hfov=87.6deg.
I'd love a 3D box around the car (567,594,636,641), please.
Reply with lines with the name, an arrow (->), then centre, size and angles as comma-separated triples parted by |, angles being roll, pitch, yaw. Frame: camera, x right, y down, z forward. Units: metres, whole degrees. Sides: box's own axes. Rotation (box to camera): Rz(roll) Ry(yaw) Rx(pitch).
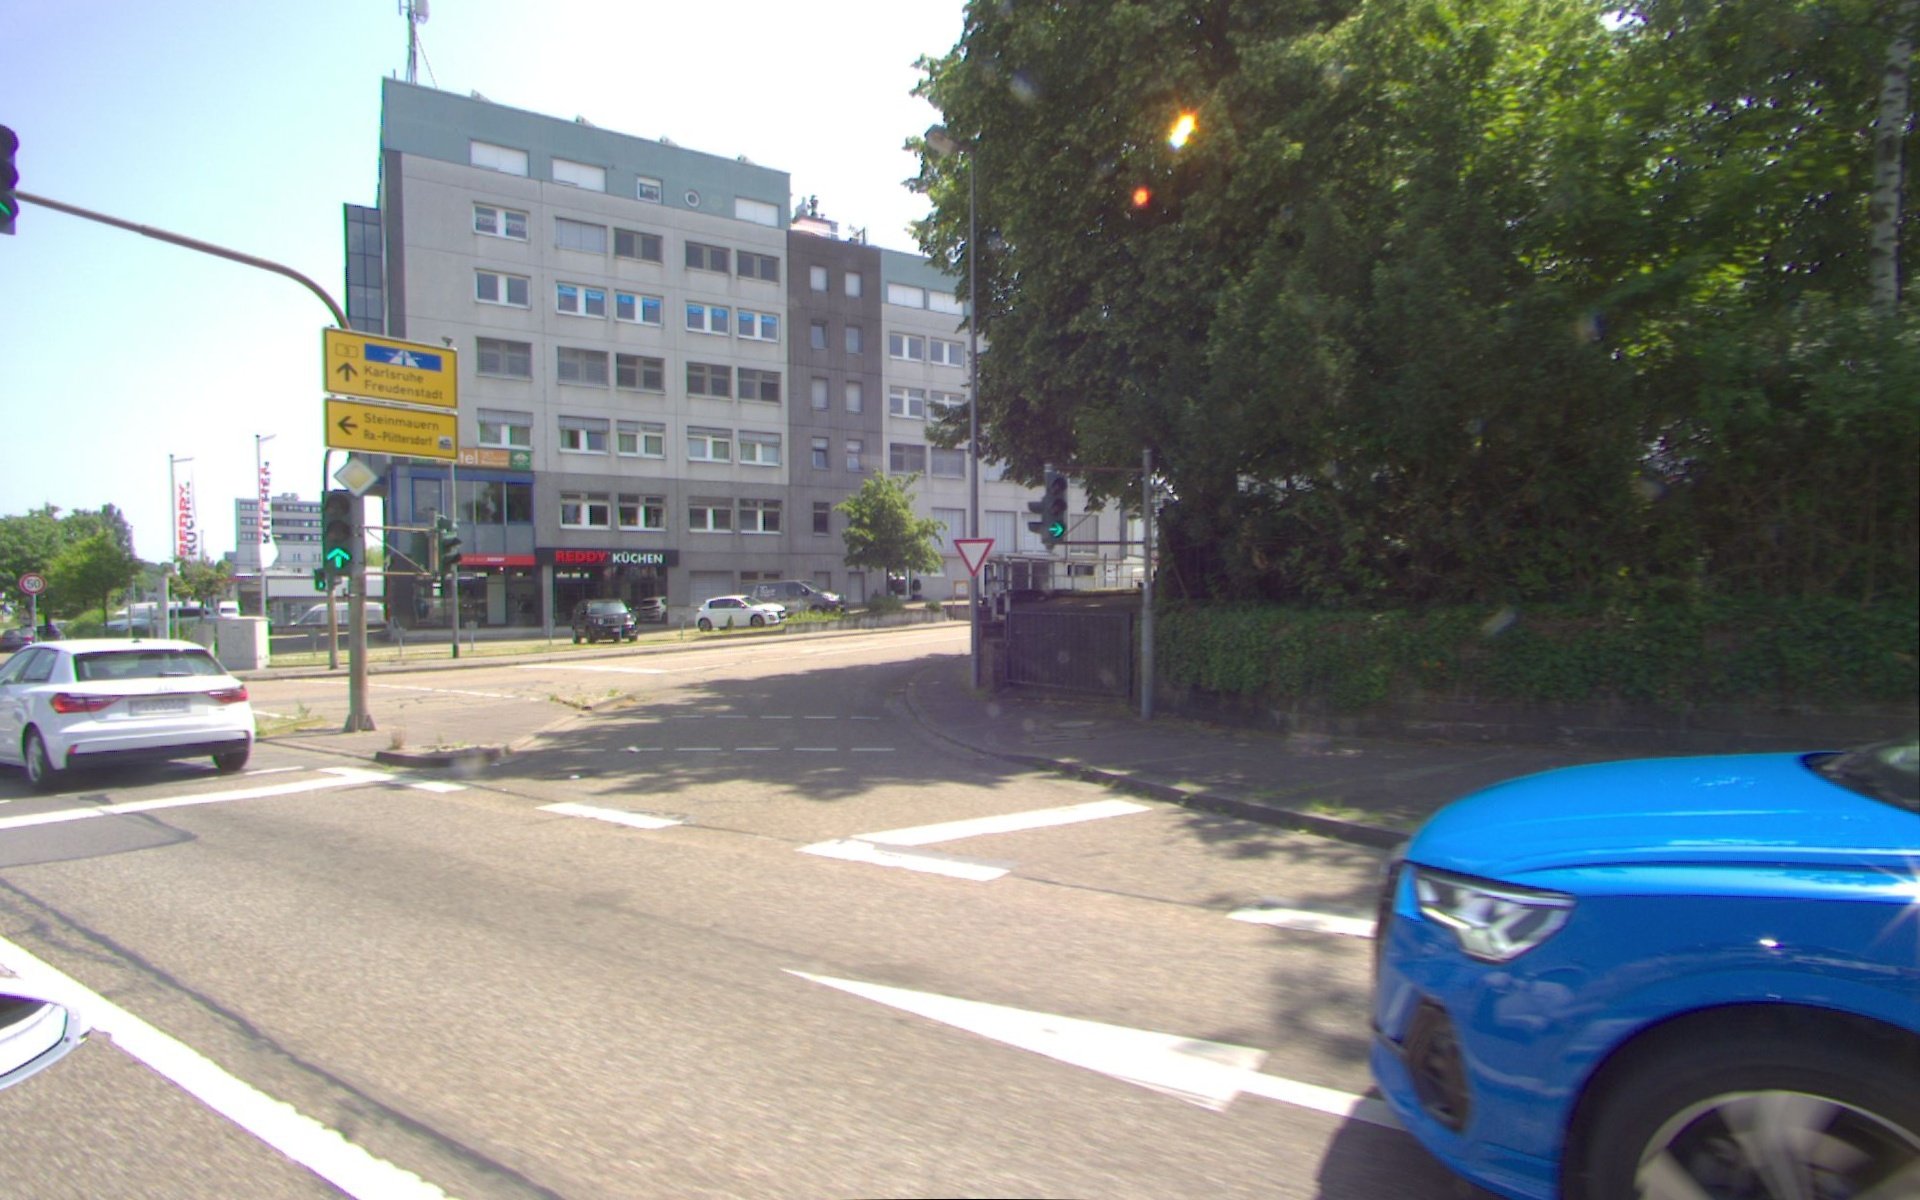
car -> -13.837, 0.663, 38.486 | 1.523, 1.697, 4.302 | 0, -1, -33

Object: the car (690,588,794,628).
car -> -9.423, 0.379, 43.385 | 4.148, 1.551, 1.543 | -2, -2, 15

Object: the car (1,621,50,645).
car -> -57.363, 2.009, 61.538 | 1.782, 1.424, 4.287 | 1, -1, -37

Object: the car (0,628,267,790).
car -> -9.164, 1.022, 10.674 | 3.740, 1.417, 1.663 | -1, -1, 34

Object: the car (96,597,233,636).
car -> -37.749, 0.814, 47.647 | 1.970, 1.735, 4.722 | -1, -2, 29

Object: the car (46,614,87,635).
car -> -75.240, 2.028, 84.414 | 1.942, 1.551, 5.123 | -4, 2, -36

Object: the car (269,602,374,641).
car -> -42.500, 1.449, 66.752 | 5.827, 2.561, 2.107 | 1, -2, -34

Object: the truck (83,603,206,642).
truck -> -55.515, 1.496, 68.377 | 6.183, 2.369, 2.352 | -2, 2, -35

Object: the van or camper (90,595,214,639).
van or camper -> -58.031, 1.187, 72.126 | 6.734, 2.937, 2.258 | -1, 2, -37

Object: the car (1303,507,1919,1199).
car -> 3.104, 0.655, 1.888 | 4.334, 1.618, 1.909 | 0, -1, 34

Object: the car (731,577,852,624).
car -> -7.656, 0.051, 45.629 | 5.096, 2.063, 1.890 | 0, -2, 15
